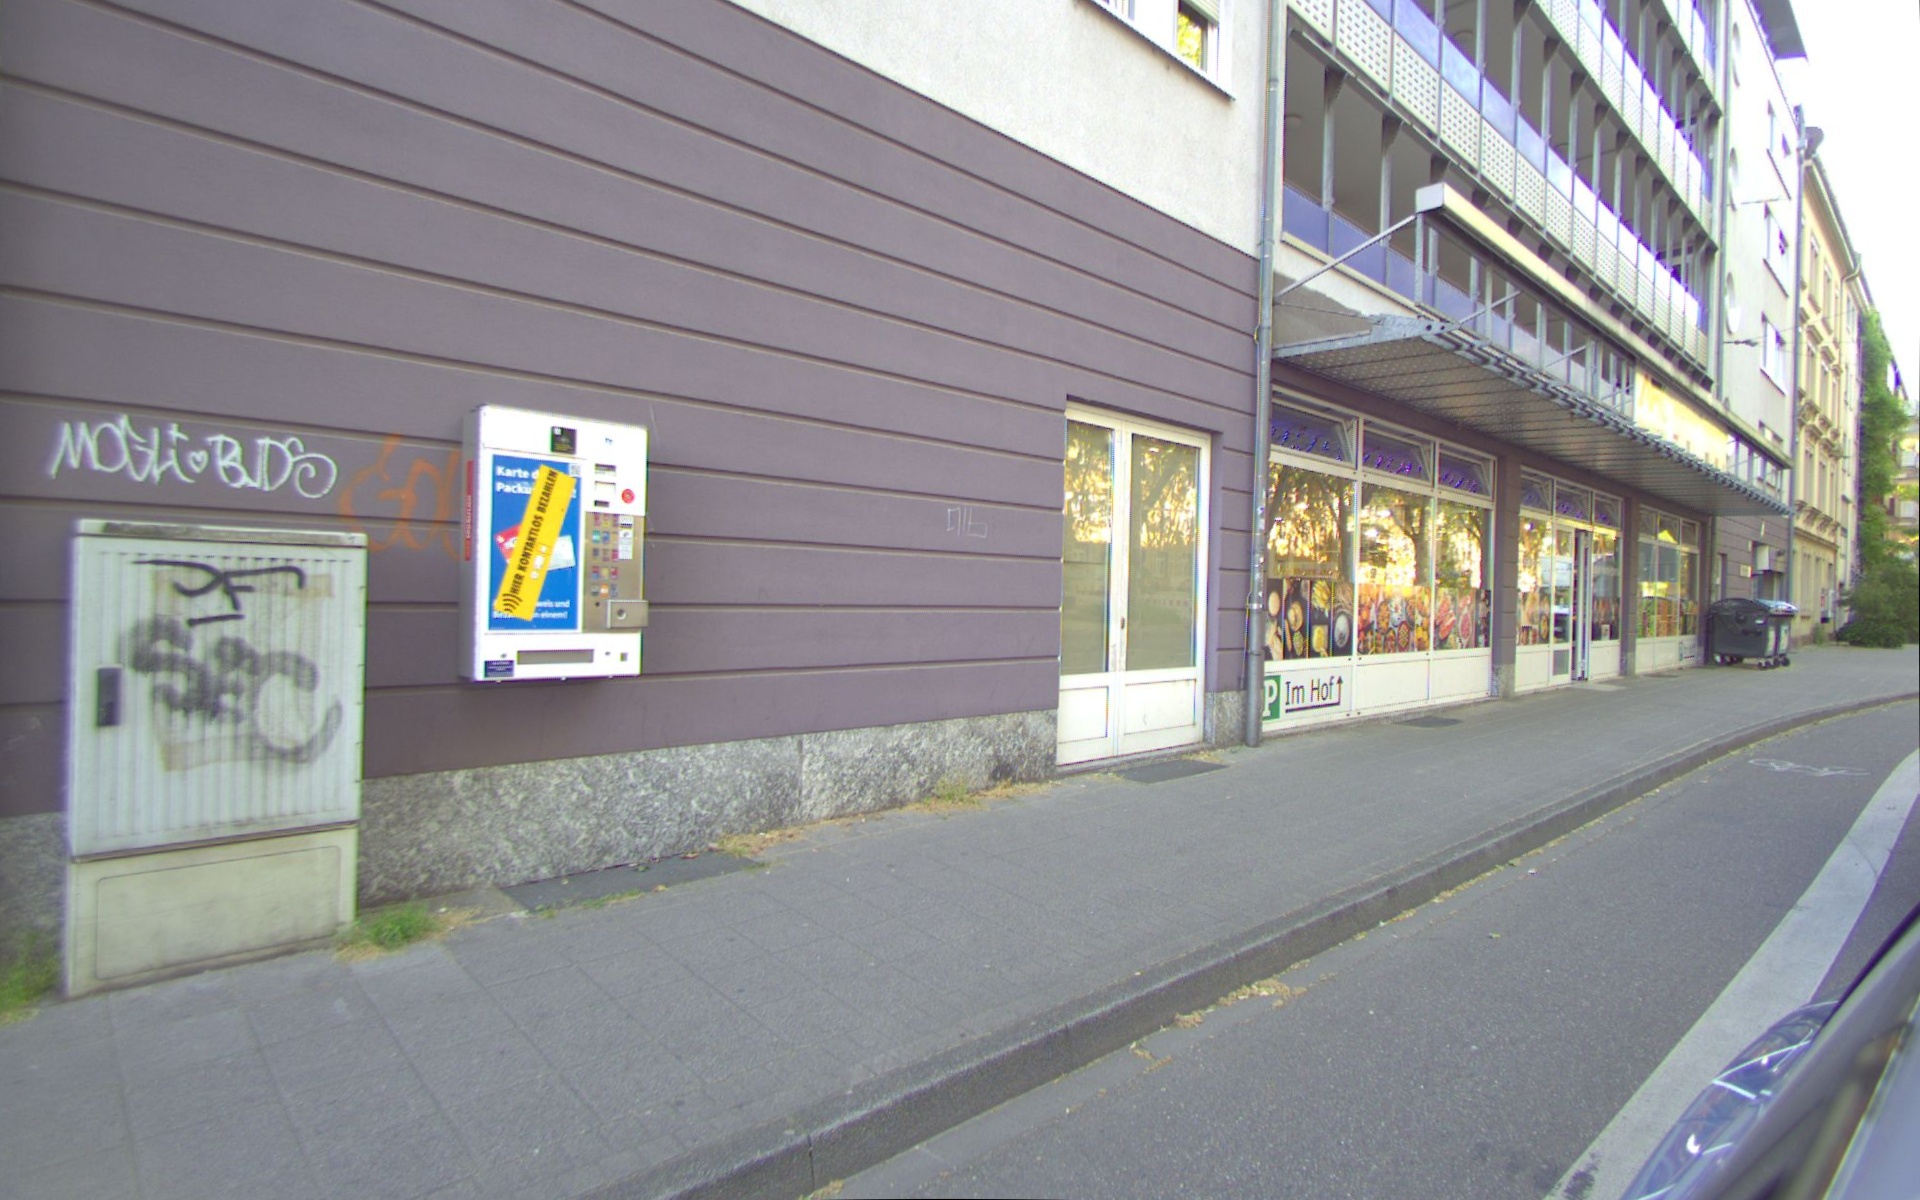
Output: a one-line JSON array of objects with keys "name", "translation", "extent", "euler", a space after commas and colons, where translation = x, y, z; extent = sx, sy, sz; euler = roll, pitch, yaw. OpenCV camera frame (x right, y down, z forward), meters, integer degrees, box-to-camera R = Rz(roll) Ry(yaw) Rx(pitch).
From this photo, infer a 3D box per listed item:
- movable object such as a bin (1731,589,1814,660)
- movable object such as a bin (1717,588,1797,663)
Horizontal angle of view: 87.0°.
[{"name": "movable object such as a bin", "translation": [17.795, 0.517, 22.167], "extent": [1.282, 1.464, 1.123], "euler": [1, 1, -38]}, {"name": "movable object such as a bin", "translation": [16.446, 0.497, 20.880], "extent": [1.274, 1.465, 1.068], "euler": [1, 1, -42]}]
